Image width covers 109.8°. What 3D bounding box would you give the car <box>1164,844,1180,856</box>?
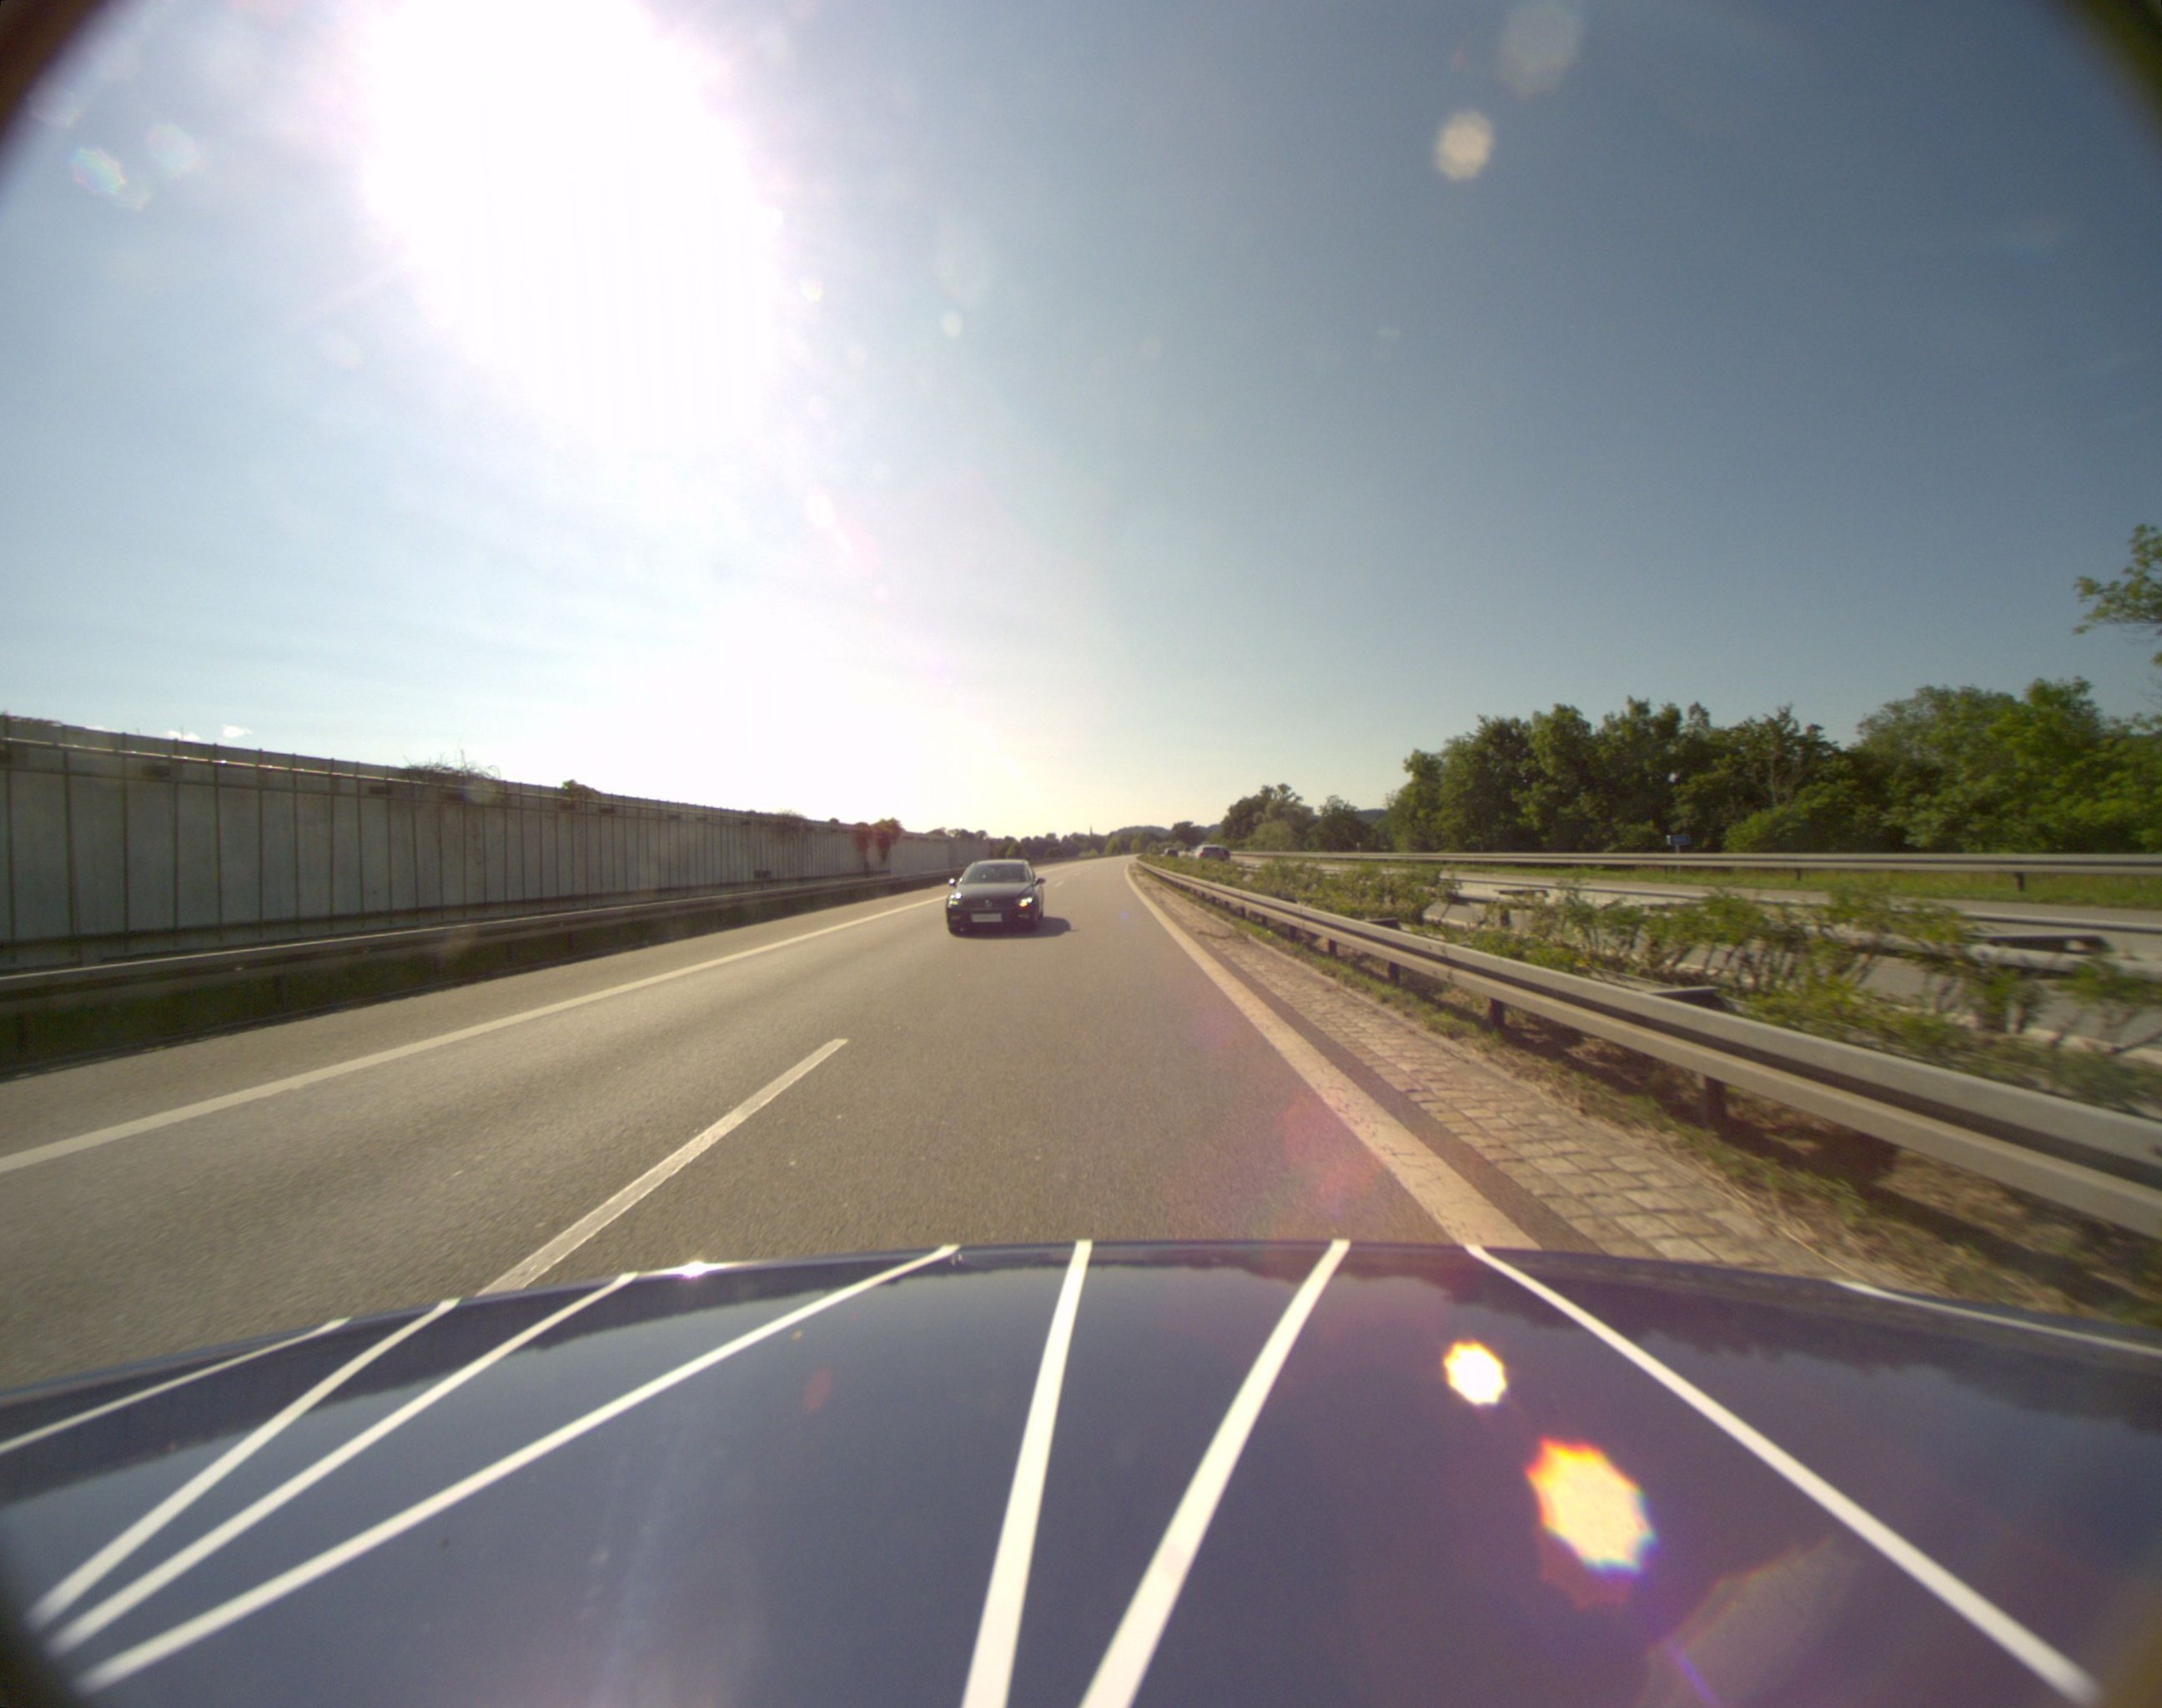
[{"bbox_3d":[11.573,-0.557,96.581,1.857,1.474,4.001,-2,1,5],"label":"car"}]

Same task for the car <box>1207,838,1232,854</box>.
[{"bbox_3d":[14.531,-0.846,79.904,1.858,1.625,4.493,-2,1,2],"label":"car"}]

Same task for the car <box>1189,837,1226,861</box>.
[{"bbox_3d":[8.688,-0.354,52.494,1.936,1.496,4.793,-2,1,2],"label":"car"}]

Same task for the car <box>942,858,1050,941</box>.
[{"bbox_3d":[-1.730,0.889,16.890,1.723,1.392,4.412,-3,1,1],"label":"car"}]
